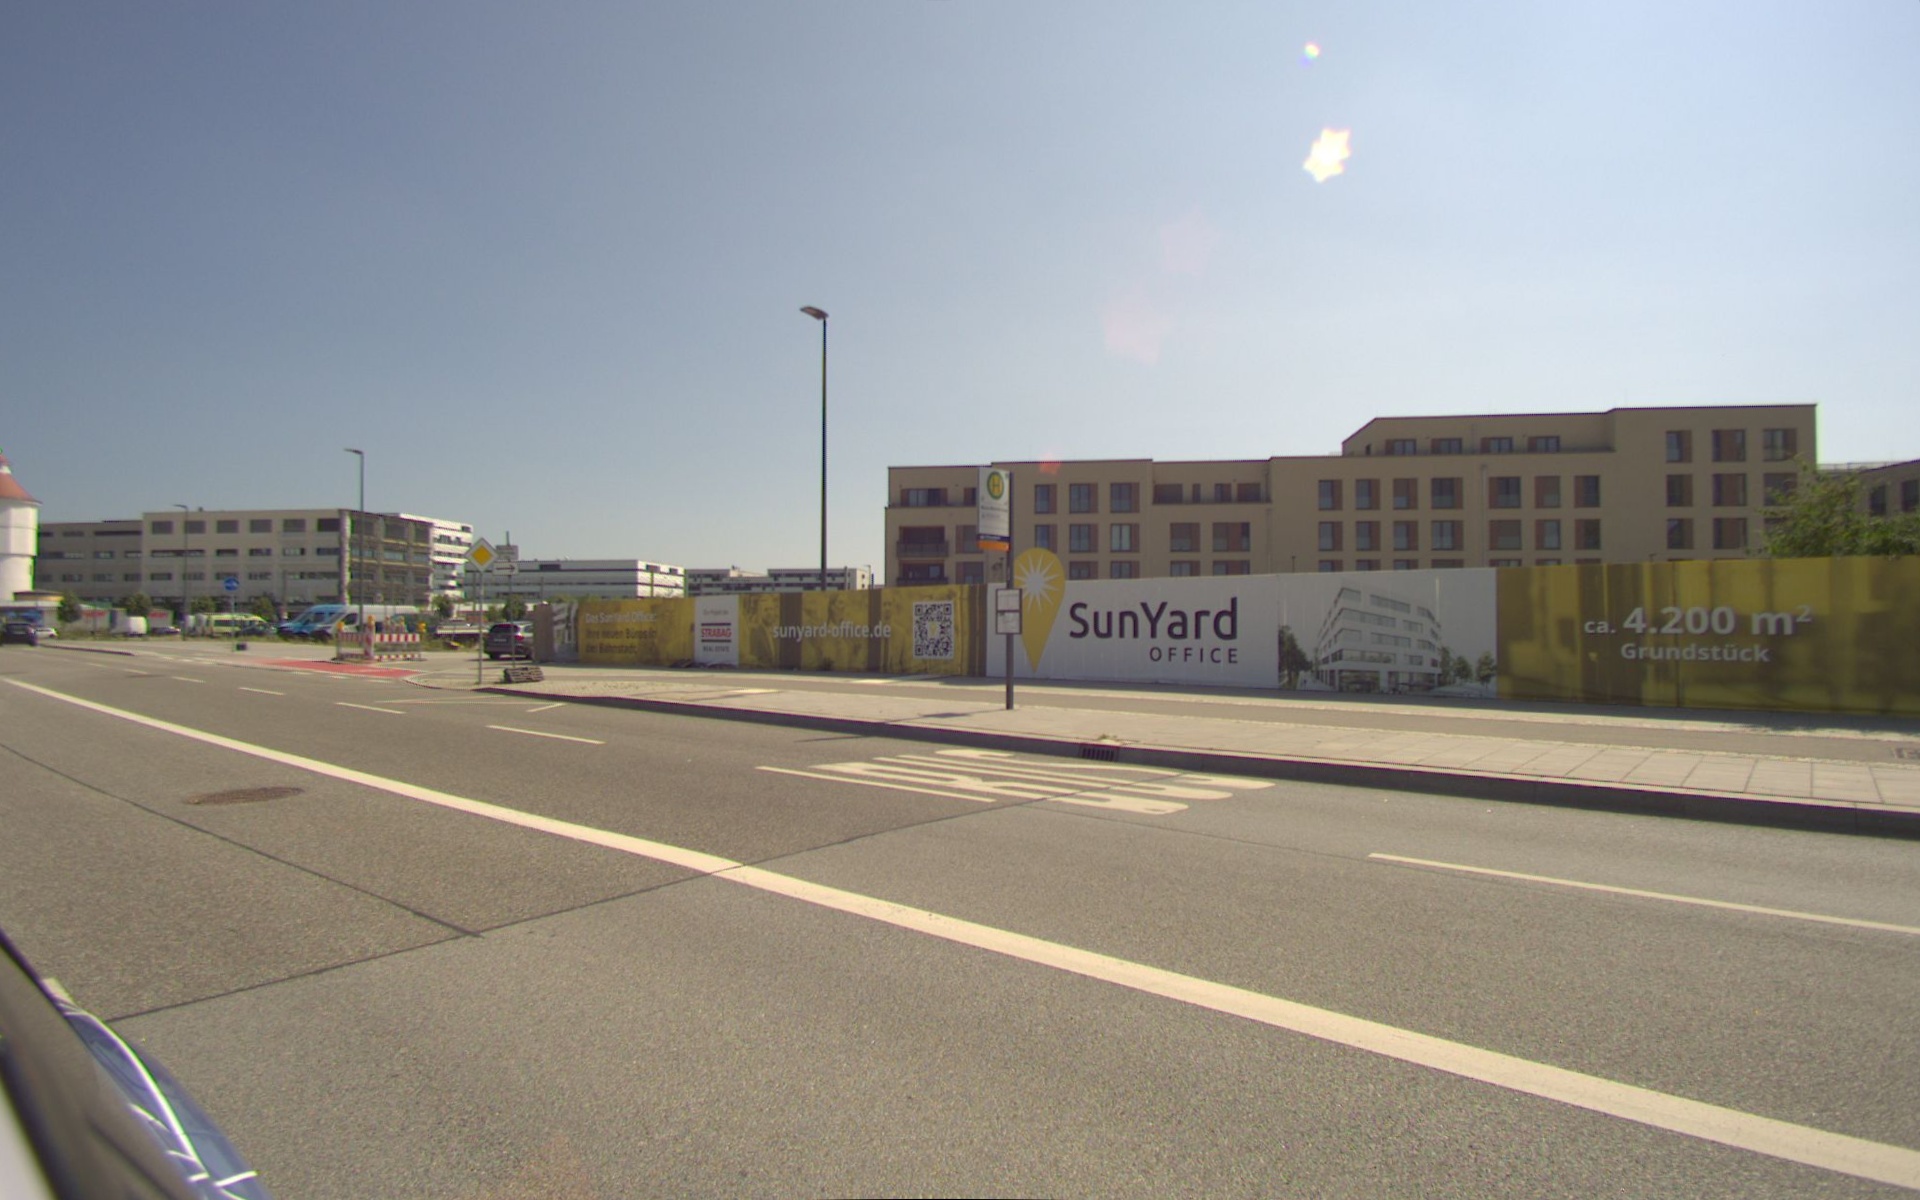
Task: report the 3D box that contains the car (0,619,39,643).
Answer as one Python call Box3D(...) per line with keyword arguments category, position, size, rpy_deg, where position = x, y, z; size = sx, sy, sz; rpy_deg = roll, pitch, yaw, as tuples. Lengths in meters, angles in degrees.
Box3D(category="car", position=(-55.022, 1.803, 58.773), size=(4.453, 1.362, 1.686), rpy_deg=(-1, -2, 41))

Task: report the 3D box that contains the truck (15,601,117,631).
Box3D(category="truck", position=(-131.022, 2.213, 148.547), size=(3.281, 4.098, 10.897), rpy_deg=(0, 0, 23))

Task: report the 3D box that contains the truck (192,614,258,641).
Box3D(category="truck", position=(-85.009, 3.161, 117.103), size=(2.568, 2.846, 5.777), rpy_deg=(0, 1, 39))

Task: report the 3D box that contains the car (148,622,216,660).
Box3D(category="car", position=(-32.986, 1.725, 42.886), size=(3.678, 1.488, 1.590), rpy_deg=(0, -3, 42))

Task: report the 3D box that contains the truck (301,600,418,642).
Box3D(category="truck", position=(-35.686, 1.264, 60.292), size=(2.272, 2.381, 5.511), rpy_deg=(-2, -3, 39))

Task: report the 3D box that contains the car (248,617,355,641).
Box3D(category="car", position=(-43.806, 1.909, 67.460), size=(2.104, 1.485, 5.596), rpy_deg=(-2, -1, 38))

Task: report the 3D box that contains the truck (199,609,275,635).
Box3D(category="truck", position=(-82.294, 2.495, 115.272), size=(2.599, 2.847, 6.573), rpy_deg=(-2, -1, 38))

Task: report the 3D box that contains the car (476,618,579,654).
Box3D(category="car", position=(-16.969, 1.424, 39.925), size=(1.975, 1.328, 4.240), rpy_deg=(0, -2, 5))

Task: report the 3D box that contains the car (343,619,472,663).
Box3D(category="car", position=(-30.361, 2.217, 55.771), size=(5.815, 2.182, 2.397), rpy_deg=(0, -1, -45))

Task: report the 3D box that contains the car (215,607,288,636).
Box3D(category="car", position=(-49.391, 1.534, 70.598), size=(3.938, 1.918, 1.829), rpy_deg=(2, -3, -42))

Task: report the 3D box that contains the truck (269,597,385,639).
Box3D(category="truck", position=(-40.785, 1.193, 65.333), size=(2.273, 2.563, 5.942), rpy_deg=(-2, -3, 40))

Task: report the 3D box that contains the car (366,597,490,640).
Box3D(category="car", position=(-28.552, 1.031, 54.469), size=(2.391, 2.190, 5.392), rpy_deg=(-2, -3, 37))

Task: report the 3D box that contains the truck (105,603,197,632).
Box3D(category="truck", position=(-126.294, 2.641, 158.147), size=(3.330, 4.307, 10.842), rpy_deg=(0, 0, 29))

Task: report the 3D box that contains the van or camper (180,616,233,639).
Box3D(category="van or camper", position=(-91.694, 3.335, 123.149), size=(2.258, 2.682, 4.850), rpy_deg=(-2, -1, 40))
